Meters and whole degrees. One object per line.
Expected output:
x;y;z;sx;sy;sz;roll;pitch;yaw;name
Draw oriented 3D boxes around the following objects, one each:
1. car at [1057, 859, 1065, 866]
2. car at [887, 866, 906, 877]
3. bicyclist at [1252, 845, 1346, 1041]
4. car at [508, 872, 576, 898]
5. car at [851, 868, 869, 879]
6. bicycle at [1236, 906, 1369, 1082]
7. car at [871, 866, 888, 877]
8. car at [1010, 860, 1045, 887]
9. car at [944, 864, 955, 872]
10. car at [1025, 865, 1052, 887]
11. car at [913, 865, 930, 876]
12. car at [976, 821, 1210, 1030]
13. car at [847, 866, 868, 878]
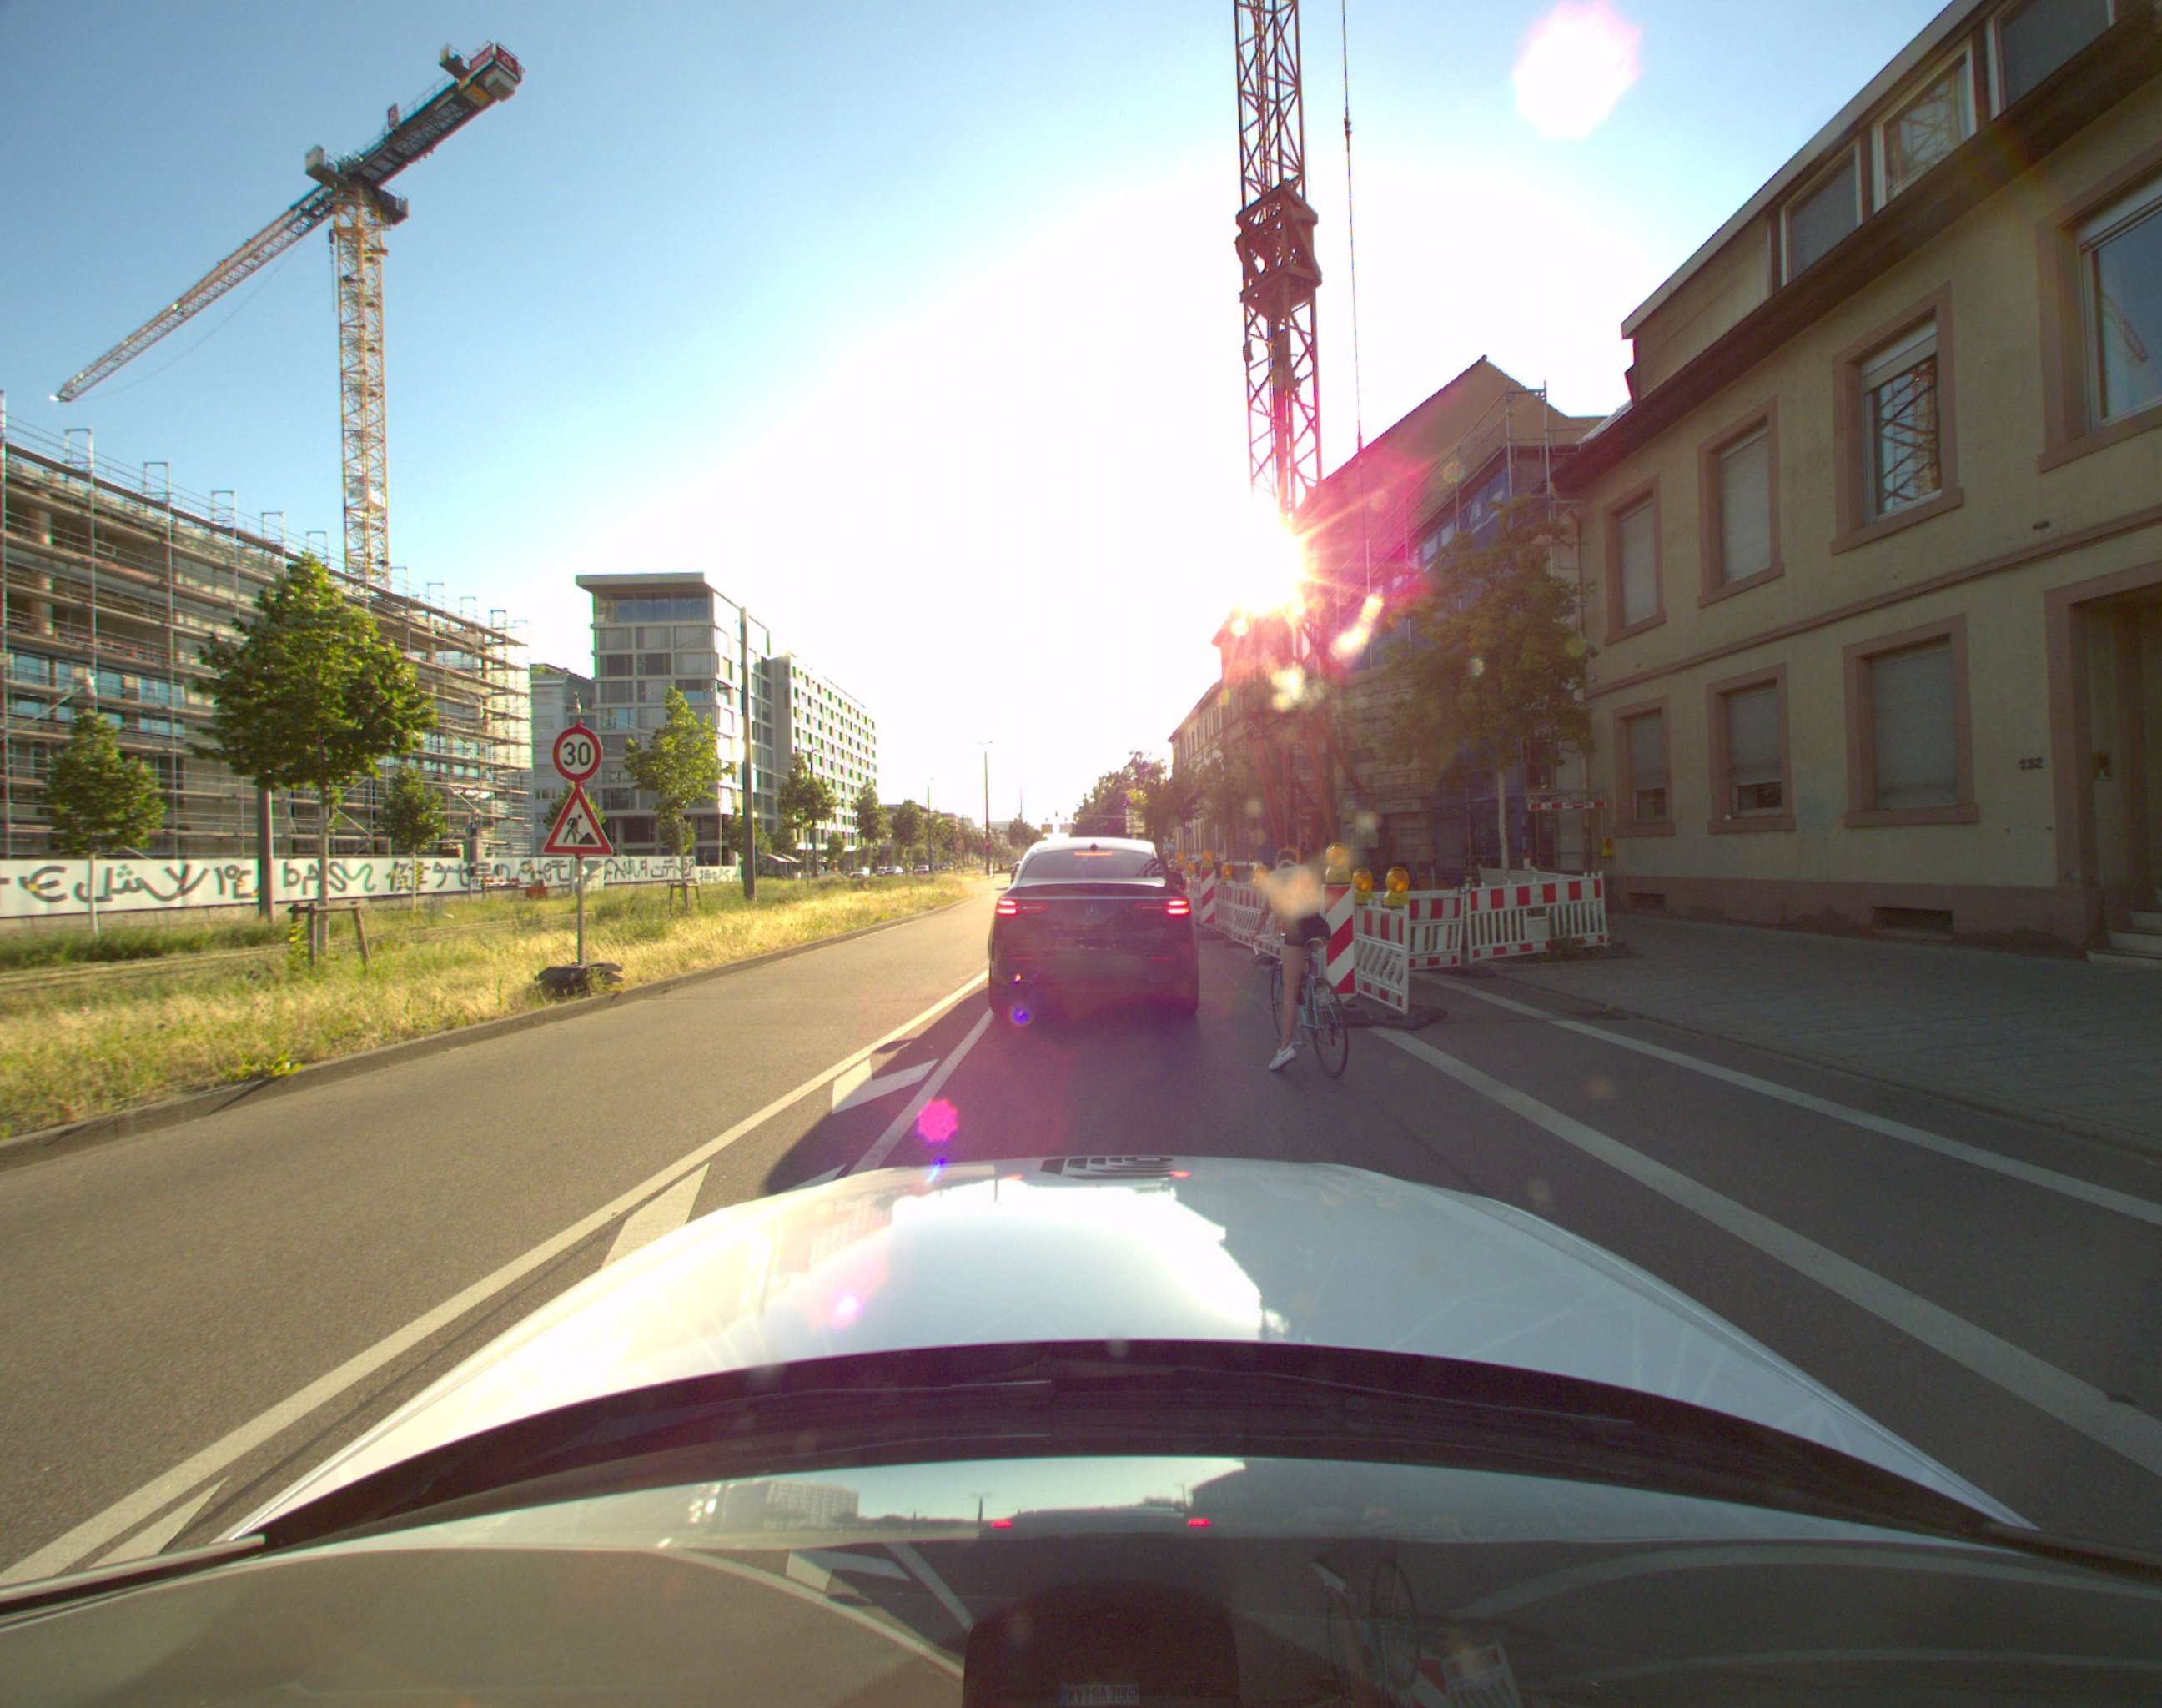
-4.468;1.912;183.756;1.703;1.442;3.581;0;-1;0;car
-24.772;2.298;109.207;1.703;1.442;3.581;0;-1;0;car
1.623;0.640;6.135;0.521;1.395;0.614;0;-1;-1;bicyclist
-32.560;1.866;49.305;1.703;1.442;3.581;0;-1;0;car
-32.186;2.808;118.546;1.703;1.442;3.581;0;-1;0;car
1.621;0.971;6.212;0.511;1.052;1.724;0;-1;-1;bicycle
-29.220;2.535;118.180;1.703;1.442;3.581;0;-1;0;car
-2.911;1.065;45.074;1.703;1.442;3.581;0;-1;0;car
-25.484;2.699;157.980;1.703;1.442;3.581;0;-1;0;car
-2.961;1.502;57.208;1.703;1.442;3.581;0;-1;0;car
-22.589;2.335;115.612;1.703;1.442;3.581;0;-1;0;car
0.167;0.624;8.959;1.986;1.772;4.001;0;-1;2;car
-28.683;2.287;104.454;1.703;1.442;3.581;0;-1;0;car
